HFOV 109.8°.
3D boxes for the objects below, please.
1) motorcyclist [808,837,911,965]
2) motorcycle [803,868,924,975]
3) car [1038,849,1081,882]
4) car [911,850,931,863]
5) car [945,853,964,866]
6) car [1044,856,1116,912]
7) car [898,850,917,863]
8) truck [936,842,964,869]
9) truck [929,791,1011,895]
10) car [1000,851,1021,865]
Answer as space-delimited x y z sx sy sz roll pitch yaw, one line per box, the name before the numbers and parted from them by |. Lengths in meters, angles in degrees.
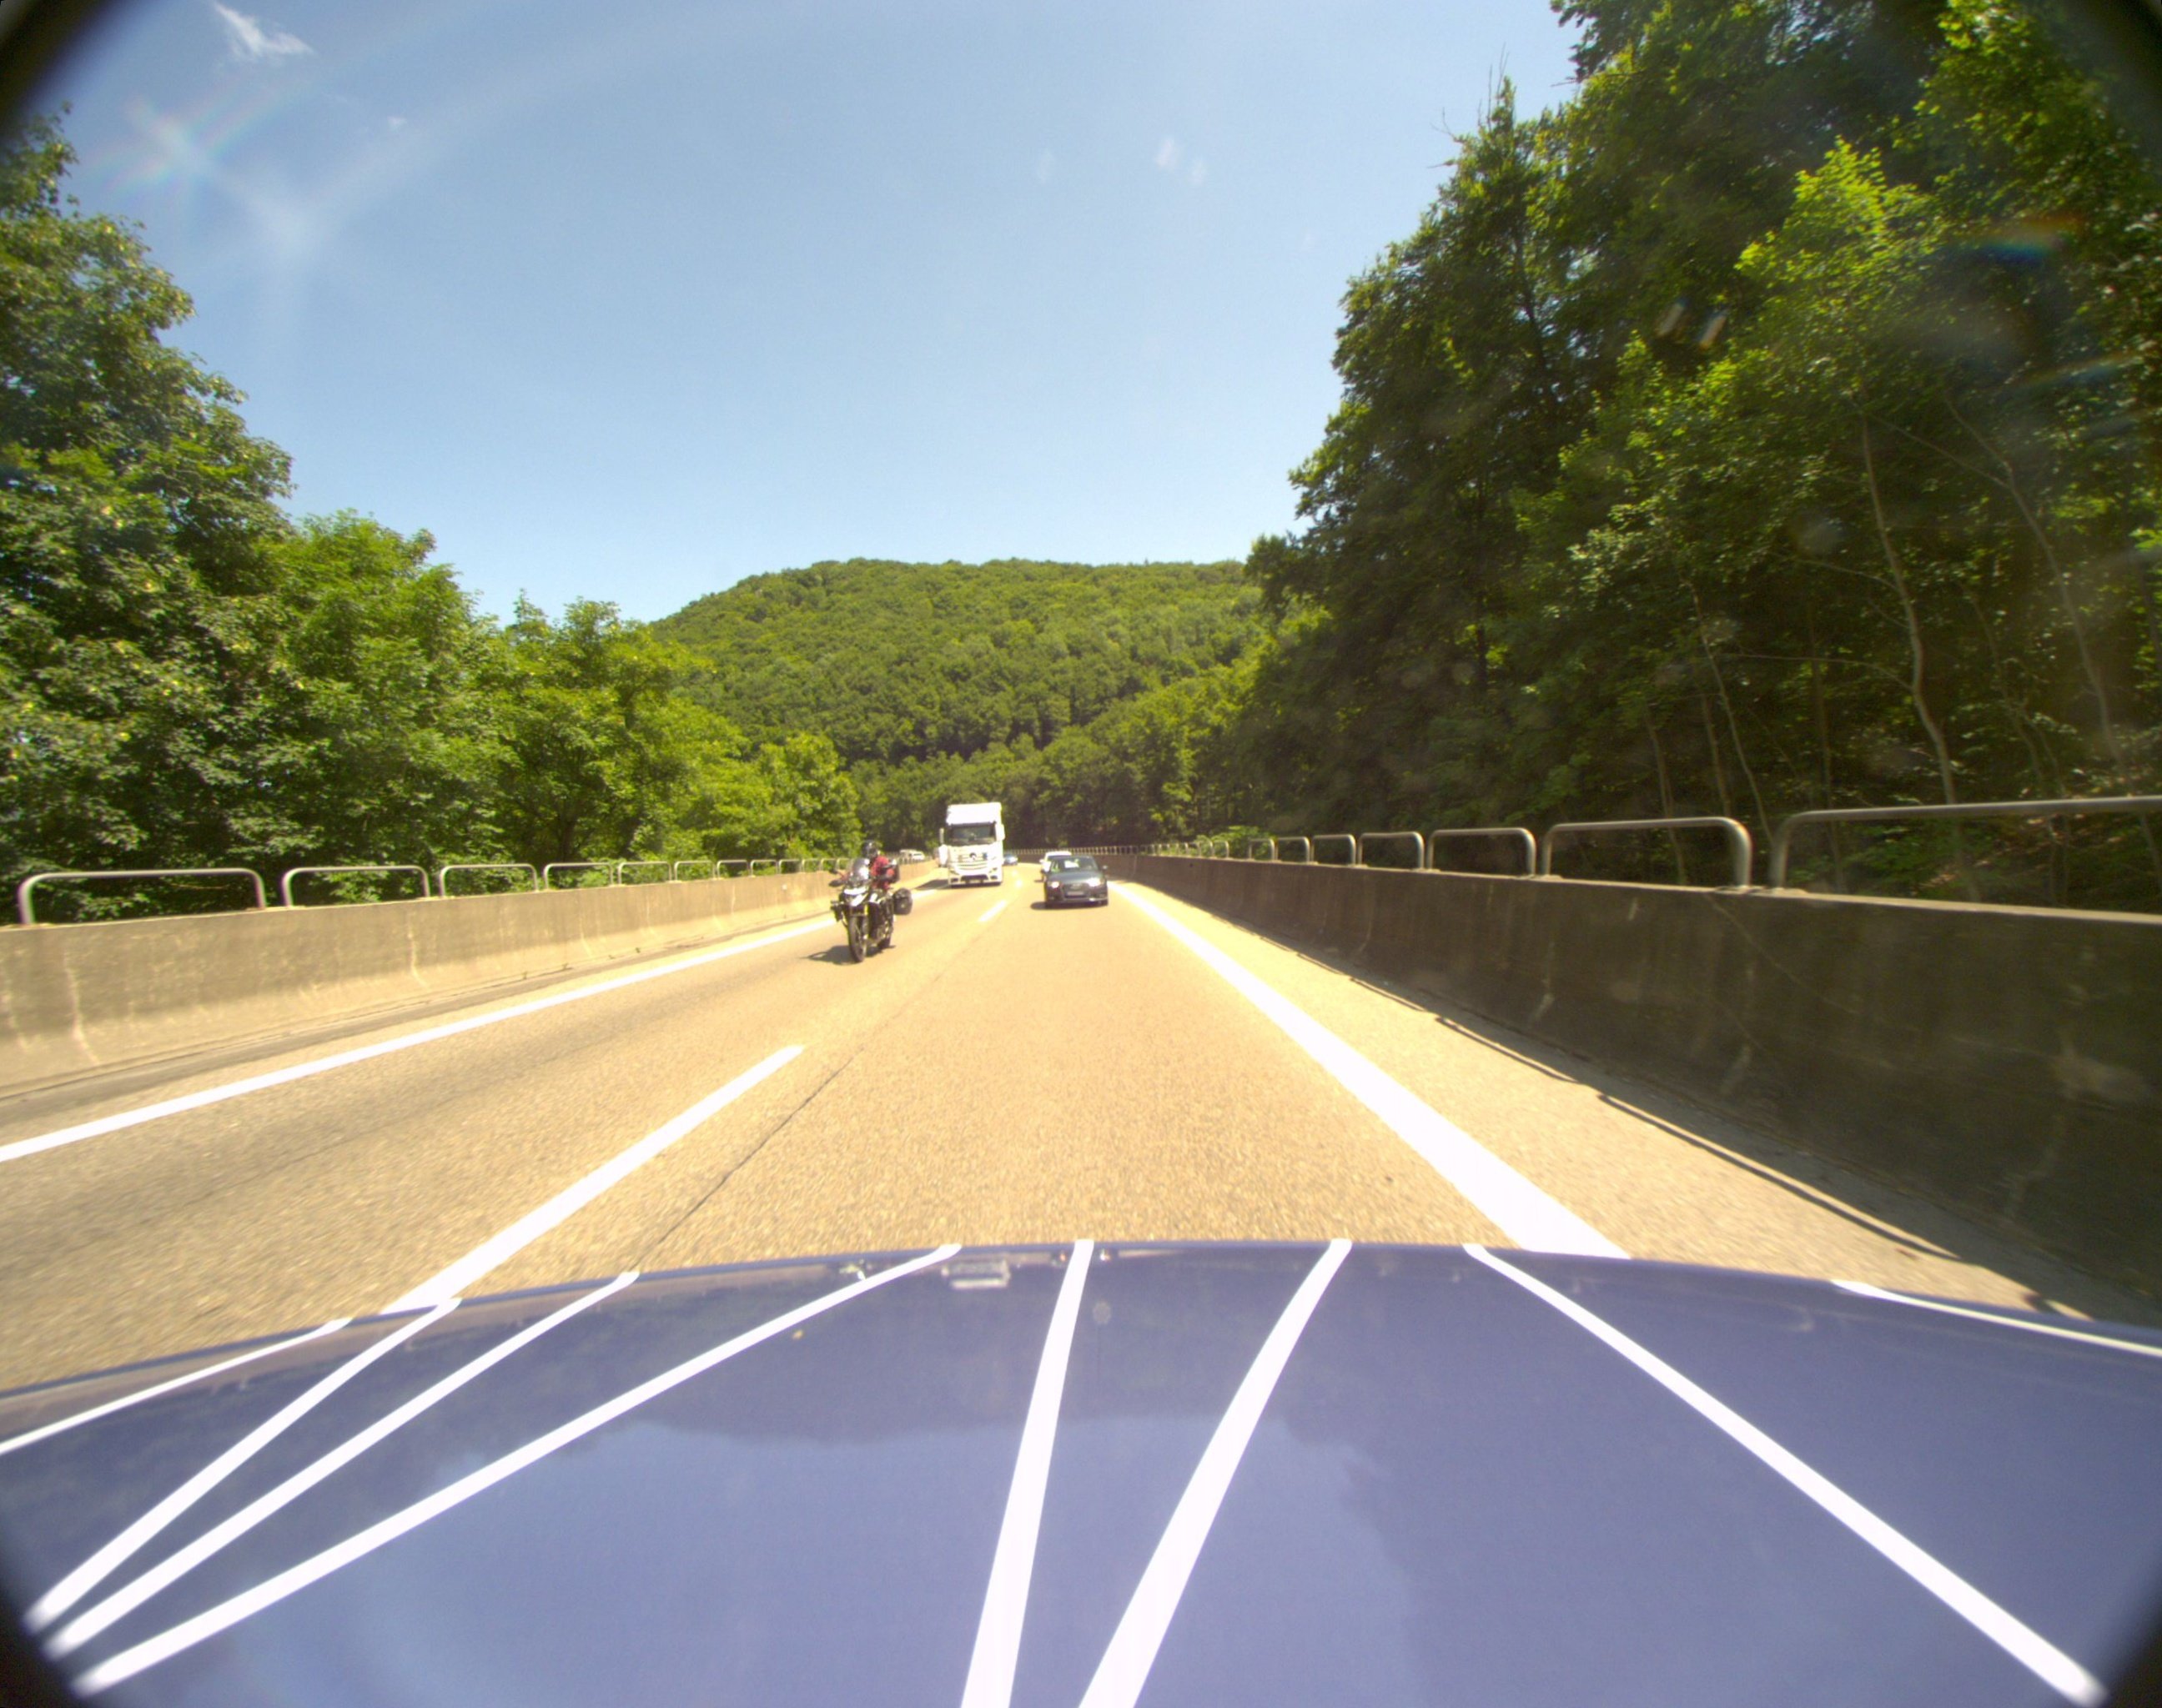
motorcyclist | -3.330 0.678 11.565 1.063 1.789 1.338 -3 0 2
motorcycle | -3.278 0.957 11.831 0.975 1.411 2.681 -3 -1 2
car | -1.173 0.546 39.350 1.756 1.460 3.979 -5 1 -7
car | -24.951 0.399 118.252 2.003 2.002 3.991 -2 1 -28
car | -14.805 0.589 88.796 1.757 1.480 3.976 -1 0 -15
car | -0.124 0.759 21.389 1.756 1.350 4.120 -1 0 -3
car | -28.719 0.444 125.936 2.003 2.002 3.991 -2 1 -28
truck | -16.314 0.154 94.070 2.620 3.084 6.846 -3 1 -15
truck | -5.304 -0.499 39.396 2.970 4.108 16.698 -3 1 -5
car | -7.745 0.457 83.160 1.757 1.480 3.977 -1 0 -14
